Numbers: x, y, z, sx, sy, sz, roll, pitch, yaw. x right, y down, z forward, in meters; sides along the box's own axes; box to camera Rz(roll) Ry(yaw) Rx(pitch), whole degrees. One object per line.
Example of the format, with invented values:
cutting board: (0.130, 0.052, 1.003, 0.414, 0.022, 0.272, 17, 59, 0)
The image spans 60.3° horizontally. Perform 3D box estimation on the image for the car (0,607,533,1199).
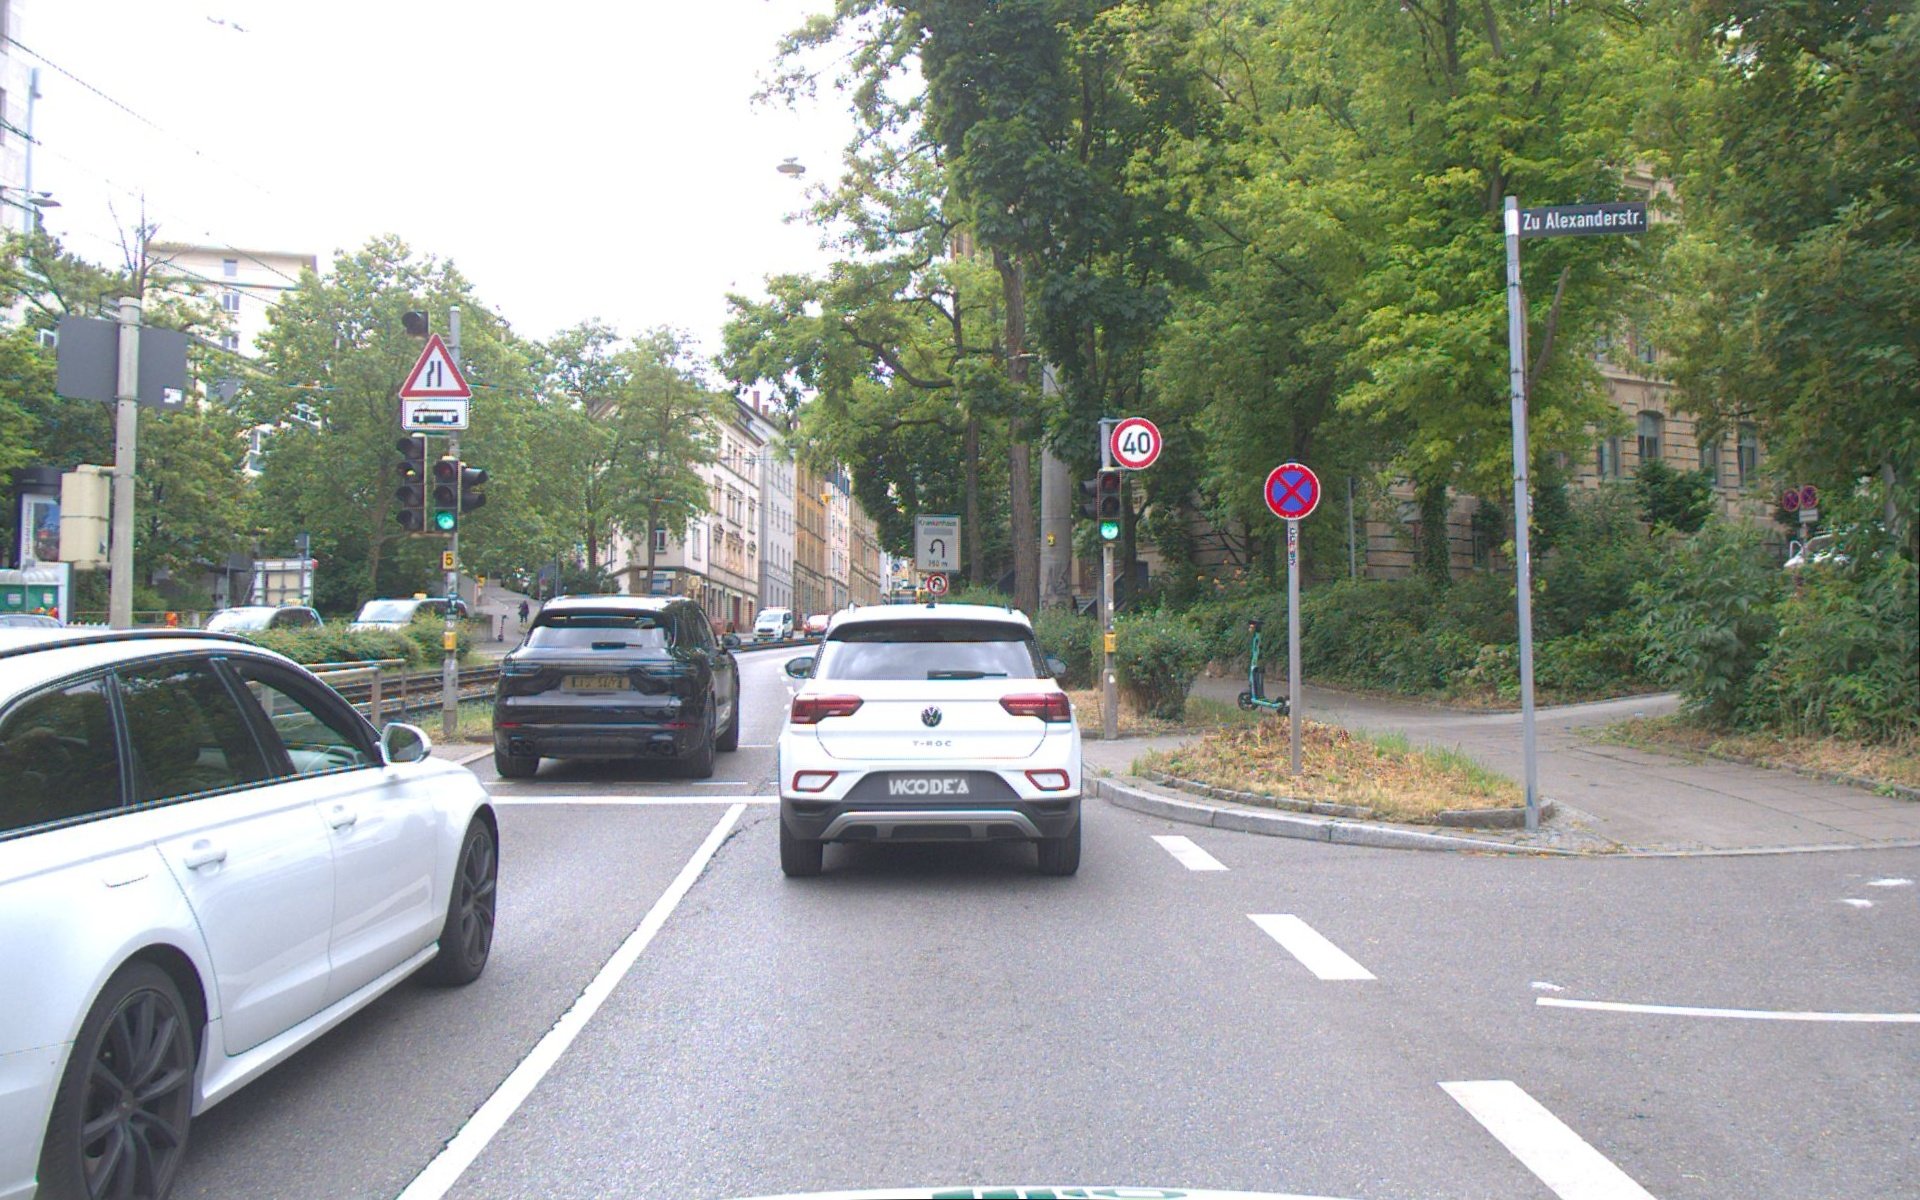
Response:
car: (-2.782, 0.781, 5.010, 1.840, 1.480, 4.616, 0, -1, -1)

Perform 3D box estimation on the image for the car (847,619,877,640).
car: (-7.812, 2.339, 131.610, 1.952, 1.579, 4.001, -1, -1, 3)

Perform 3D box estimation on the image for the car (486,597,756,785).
car: (-3.182, 0.802, 16.396, 1.997, 1.599, 4.355, 0, -1, -3)

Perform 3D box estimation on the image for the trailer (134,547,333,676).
trailer: (-18.262, 0.302, 41.951, 1.976, 3.025, 5.593, 1, -1, 7)

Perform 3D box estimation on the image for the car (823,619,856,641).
car: (-8.835, 2.196, 121.353, 1.952, 1.579, 4.001, -1, -1, 3)

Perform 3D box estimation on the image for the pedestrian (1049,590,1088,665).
pedestrian: (2.549, 0.648, 38.820, 0.757, 1.733, 0.784, -1, -1, -7)

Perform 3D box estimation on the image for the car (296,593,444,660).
car: (-15.412, 0.686, 43.512, 1.951, 1.633, 4.612, -1, -1, 4)

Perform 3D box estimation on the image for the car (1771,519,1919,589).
car: (30.226, -1.571, 56.042, 5.138, 1.967, 2.160, -4, -2, -26)

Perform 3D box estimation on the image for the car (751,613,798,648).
car: (-10.999, 1.796, 98.362, 1.906, 1.980, 5.005, 0, 0, 4)

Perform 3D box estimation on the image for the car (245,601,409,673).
car: (-15.299, 0.861, 40.267, 1.951, 1.633, 4.622, -1, -1, 4)

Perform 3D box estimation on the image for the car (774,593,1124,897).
car: (-0.175, 0.781, 10.716, 1.841, 1.582, 3.997, 0, -1, -4)

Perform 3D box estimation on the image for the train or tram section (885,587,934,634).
train or tram section: (-4.280, 0.942, 143.998, 2.822, 3.791, 14.862, 1, -1, 4)

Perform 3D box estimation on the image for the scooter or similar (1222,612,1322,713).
scooter or similar: (3.982, 0.784, 21.243, 0.620, 1.231, 1.550, 0, -1, -16)

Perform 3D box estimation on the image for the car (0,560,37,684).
car: (-21.522, 0.466, 33.274, 2.112, 2.639, 6.338, -1, -1, 3)

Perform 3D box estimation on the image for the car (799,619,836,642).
car: (-9.795, 2.082, 113.875, 1.952, 1.579, 4.001, -1, -1, 3)

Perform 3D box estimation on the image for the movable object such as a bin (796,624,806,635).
movable object such as a bin: (-13.585, 2.542, 141.410, 0.762, 0.964, 0.654, 0, -1, 5)

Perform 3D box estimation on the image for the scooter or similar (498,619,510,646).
scooter or similar: (-21.501, 1.524, 78.037, 0.481, 1.241, 1.635, 2, -2, -15)

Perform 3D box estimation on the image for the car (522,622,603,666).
car: (-13.879, 1.512, 57.904, 1.624, 1.468, 3.742, -1, -1, 5)
